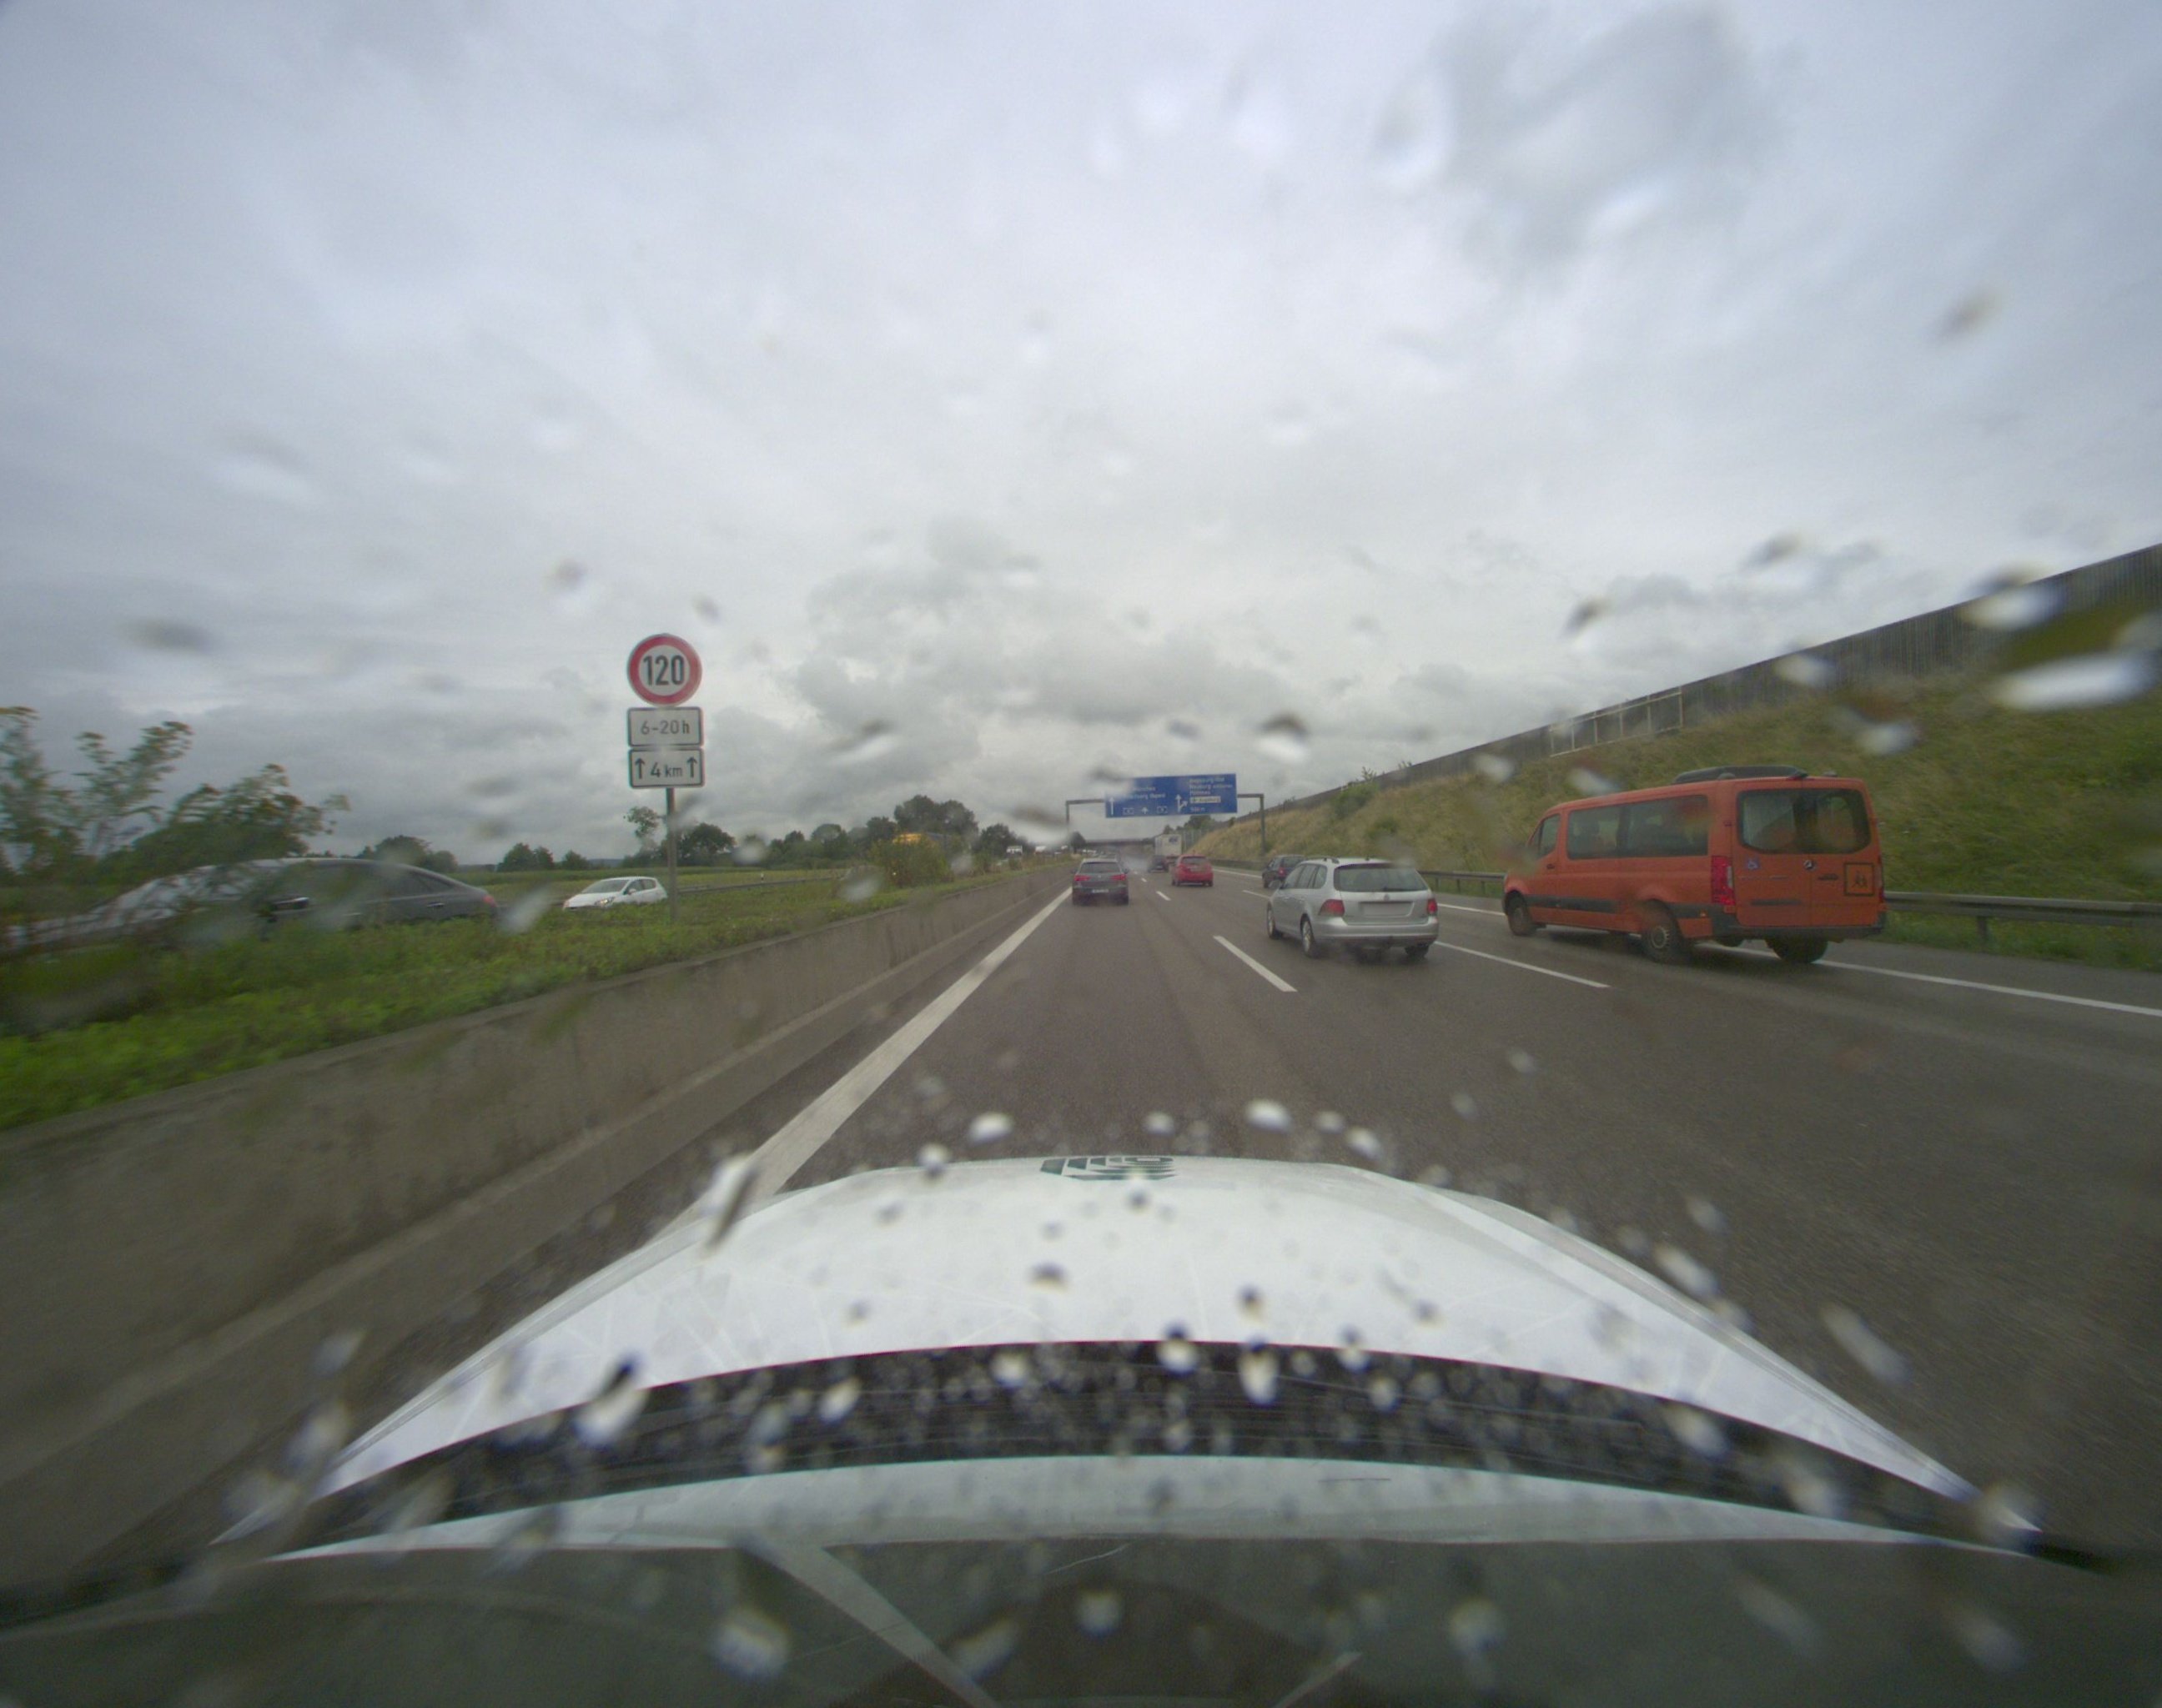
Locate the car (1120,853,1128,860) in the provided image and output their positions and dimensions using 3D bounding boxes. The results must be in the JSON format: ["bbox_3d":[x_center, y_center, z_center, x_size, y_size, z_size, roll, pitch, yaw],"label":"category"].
[{"bbox_3d":[12.758,0.849,241.161,1.988,2.013,3.998,-2,0,-1],"label":"car"}]

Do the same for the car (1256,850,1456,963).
[{"bbox_3d":[4.097,0.689,12.957,1.735,1.425,4.518,-2,0,2],"label":"car"}]

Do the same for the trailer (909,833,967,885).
[{"bbox_3d":[-13.958,0.471,80.608,3.375,4.768,11.684,0,0,1],"label":"trailer"}]

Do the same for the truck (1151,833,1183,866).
[{"bbox_3d":[12.173,-0.534,116.502,3.270,4.295,19.042,0,0,2],"label":"truck"}]

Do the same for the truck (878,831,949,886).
[{"bbox_3d":[-14.339,0.402,70.796,3.399,4.364,10.997,0,0,2],"label":"truck"}]

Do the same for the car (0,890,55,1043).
[{"bbox_3d":[-12.408,1.232,7.057,1.860,1.596,4.002,-2,0,2],"label":"car"}]

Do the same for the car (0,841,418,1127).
[{"bbox_3d":[-8.606,0.957,6.810,1.986,2.013,4.838,-2,0,2],"label":"car"}]

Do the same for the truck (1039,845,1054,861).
[{"bbox_3d":[-6.677,-0.155,158.781,2.302,2.908,7.429,0,0,3],"label":"truck"}]

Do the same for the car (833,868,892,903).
[{"bbox_3d":[-11.050,1.560,41.428,1.809,1.652,4.002,0,0,2],"label":"car"}]

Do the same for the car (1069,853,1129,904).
[{"bbox_3d":[0.555,0.732,25.902,1.762,1.467,4.000,0,0,1],"label":"car"}]

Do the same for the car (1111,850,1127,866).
[{"bbox_3d":[4.583,0.475,98.260,1.699,1.796,3.855,-3,0,1],"label":"car"}]

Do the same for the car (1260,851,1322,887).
[{"bbox_3d":[8.682,0.598,33.971,1.696,1.401,3.877,0,0,2],"label":"car"}]

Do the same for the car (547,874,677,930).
[{"bbox_3d":[-15.839,1.578,27.782,1.986,1.684,4.002,0,0,2],"label":"car"}]

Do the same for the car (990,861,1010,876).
[{"bbox_3d":[-10.254,1.820,103.349,1.875,1.615,5.016,-2,0,2],"label":"car"}]

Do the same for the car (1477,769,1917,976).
[{"bbox_3d":[8.560,0.202,12.416,2.078,2.315,6.182,-1,0,1],"label":"car"}]

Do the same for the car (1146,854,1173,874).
[{"bbox_3d":[6.468,0.806,67.697,1.914,1.522,4.624,-1,0,2],"label":"car"}]

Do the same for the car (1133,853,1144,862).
[{"bbox_3d":[10.403,0.688,148.164,1.839,1.687,4.000,0,0,0],"label":"car"}]

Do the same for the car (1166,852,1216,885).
[{"bbox_3d":[5.186,0.644,38.921,1.884,1.446,4.686,-1,0,1],"label":"car"}]

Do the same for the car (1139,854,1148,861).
[{"bbox_3d":[17.303,0.831,224.806,1.987,1.860,4.390,-2,0,0],"label":"car"}]

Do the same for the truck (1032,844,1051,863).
[{"bbox_3d":[-9.066,-0.018,189.267,3.601,4.274,7.596,0,-1,3],"label":"truck"}]

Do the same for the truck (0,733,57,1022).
[{"bbox_3d":[-16.743,0.301,6.441,3.170,3.967,10.820,0,0,4],"label":"truck"}]

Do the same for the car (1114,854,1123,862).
[{"bbox_3d":[9.214,1.012,200.668,1.986,2.014,4.244,0,-1,2],"label":"car"}]

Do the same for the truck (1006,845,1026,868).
[{"bbox_3d":[-11.336,0.398,142.544,2.630,3.725,5.876,0,1,2],"label":"truck"}]

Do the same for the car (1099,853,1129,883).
[{"bbox_3d":[2.040,0.858,50.863,1.747,1.750,4.001,0,0,2],"label":"car"}]
